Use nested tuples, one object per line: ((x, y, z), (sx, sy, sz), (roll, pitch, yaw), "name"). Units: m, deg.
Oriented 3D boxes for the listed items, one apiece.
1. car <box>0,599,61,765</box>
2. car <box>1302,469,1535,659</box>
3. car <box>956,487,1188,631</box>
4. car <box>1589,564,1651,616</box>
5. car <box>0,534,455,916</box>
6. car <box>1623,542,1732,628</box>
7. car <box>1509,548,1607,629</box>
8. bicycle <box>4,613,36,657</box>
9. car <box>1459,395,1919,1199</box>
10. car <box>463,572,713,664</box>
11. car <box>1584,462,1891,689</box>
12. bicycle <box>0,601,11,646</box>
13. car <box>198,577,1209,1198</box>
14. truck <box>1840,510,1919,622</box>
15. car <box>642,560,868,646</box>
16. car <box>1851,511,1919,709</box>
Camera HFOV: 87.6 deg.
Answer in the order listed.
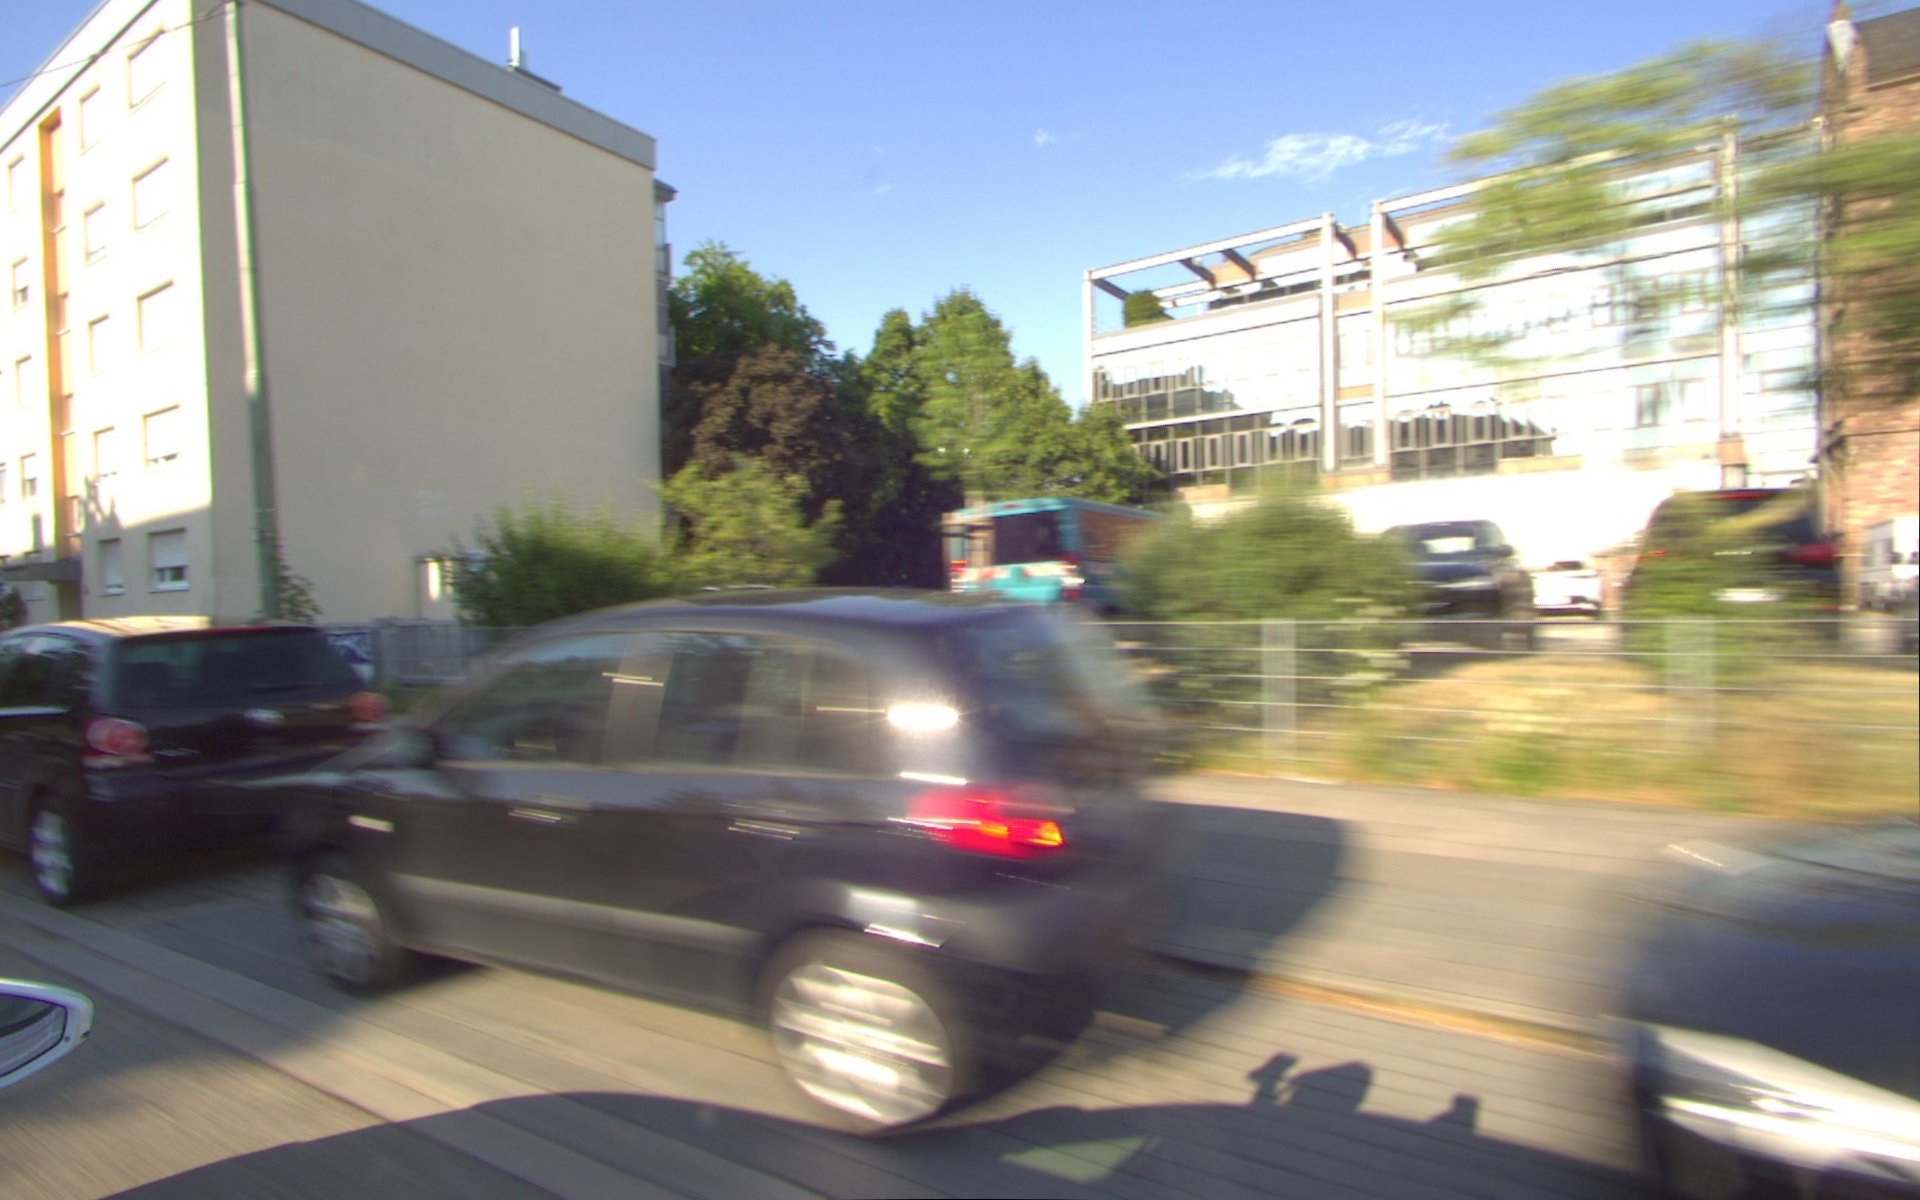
((-11.557, 0.871, 10.318), (4.872, 1.582, 1.883), (-2, 1, 29), "car")
((5.547, -0.262, 11.822), (1.972, 1.816, 3.980), (-2, -2, 32), "car")
((1.816, -0.454, 15.018), (1.971, 1.816, 3.982), (-2, -2, 31), "car")
((23.359, -0.302, 35.456), (1.709, 1.622, 4.467), (-2, -2, 33), "car")
((-5.620, 0.629, 6.756), (4.519, 1.803, 1.896), (-2, 1, 33), "car")
((15.394, -0.222, 21.667), (1.709, 1.622, 4.467), (-2, -2, 33), "car")
((13.737, -0.158, 22.876), (1.709, 1.622, 4.467), (-2, -2, 33), "car")
((-26.408, 0.991, 28.127), (1.222, 1.207, 0.333), (-2, -2, 31), "bicycle")
((3.307, 0.438, 1.098), (4.744, 1.550, 1.896), (-2, 0, 33), "car")
((-7.209, 0.296, 19.874), (1.709, 1.623, 4.464), (-2, 0, 33), "car")
((7.604, -0.112, 10.237), (1.971, 1.816, 3.982), (-2, -2, 31), "car")
((-26.866, 0.664, 27.887), (1.222, 1.207, 0.333), (-2, -2, 31), "bicycle")
((-1.156, 0.652, 4.042), (3.899, 1.456, 1.648), (1, 2, 30), "car")
((26.148, -0.808, 27.150), (2.507, 2.717, 6.410), (-2, -2, 33), "truck")
((-3.868, 0.141, 19.637), (1.709, 1.473, 4.467), (-2, -2, 33), "car")
((9.908, 0.082, 9.085), (1.971, 1.816, 3.982), (-2, -2, 31), "car")
